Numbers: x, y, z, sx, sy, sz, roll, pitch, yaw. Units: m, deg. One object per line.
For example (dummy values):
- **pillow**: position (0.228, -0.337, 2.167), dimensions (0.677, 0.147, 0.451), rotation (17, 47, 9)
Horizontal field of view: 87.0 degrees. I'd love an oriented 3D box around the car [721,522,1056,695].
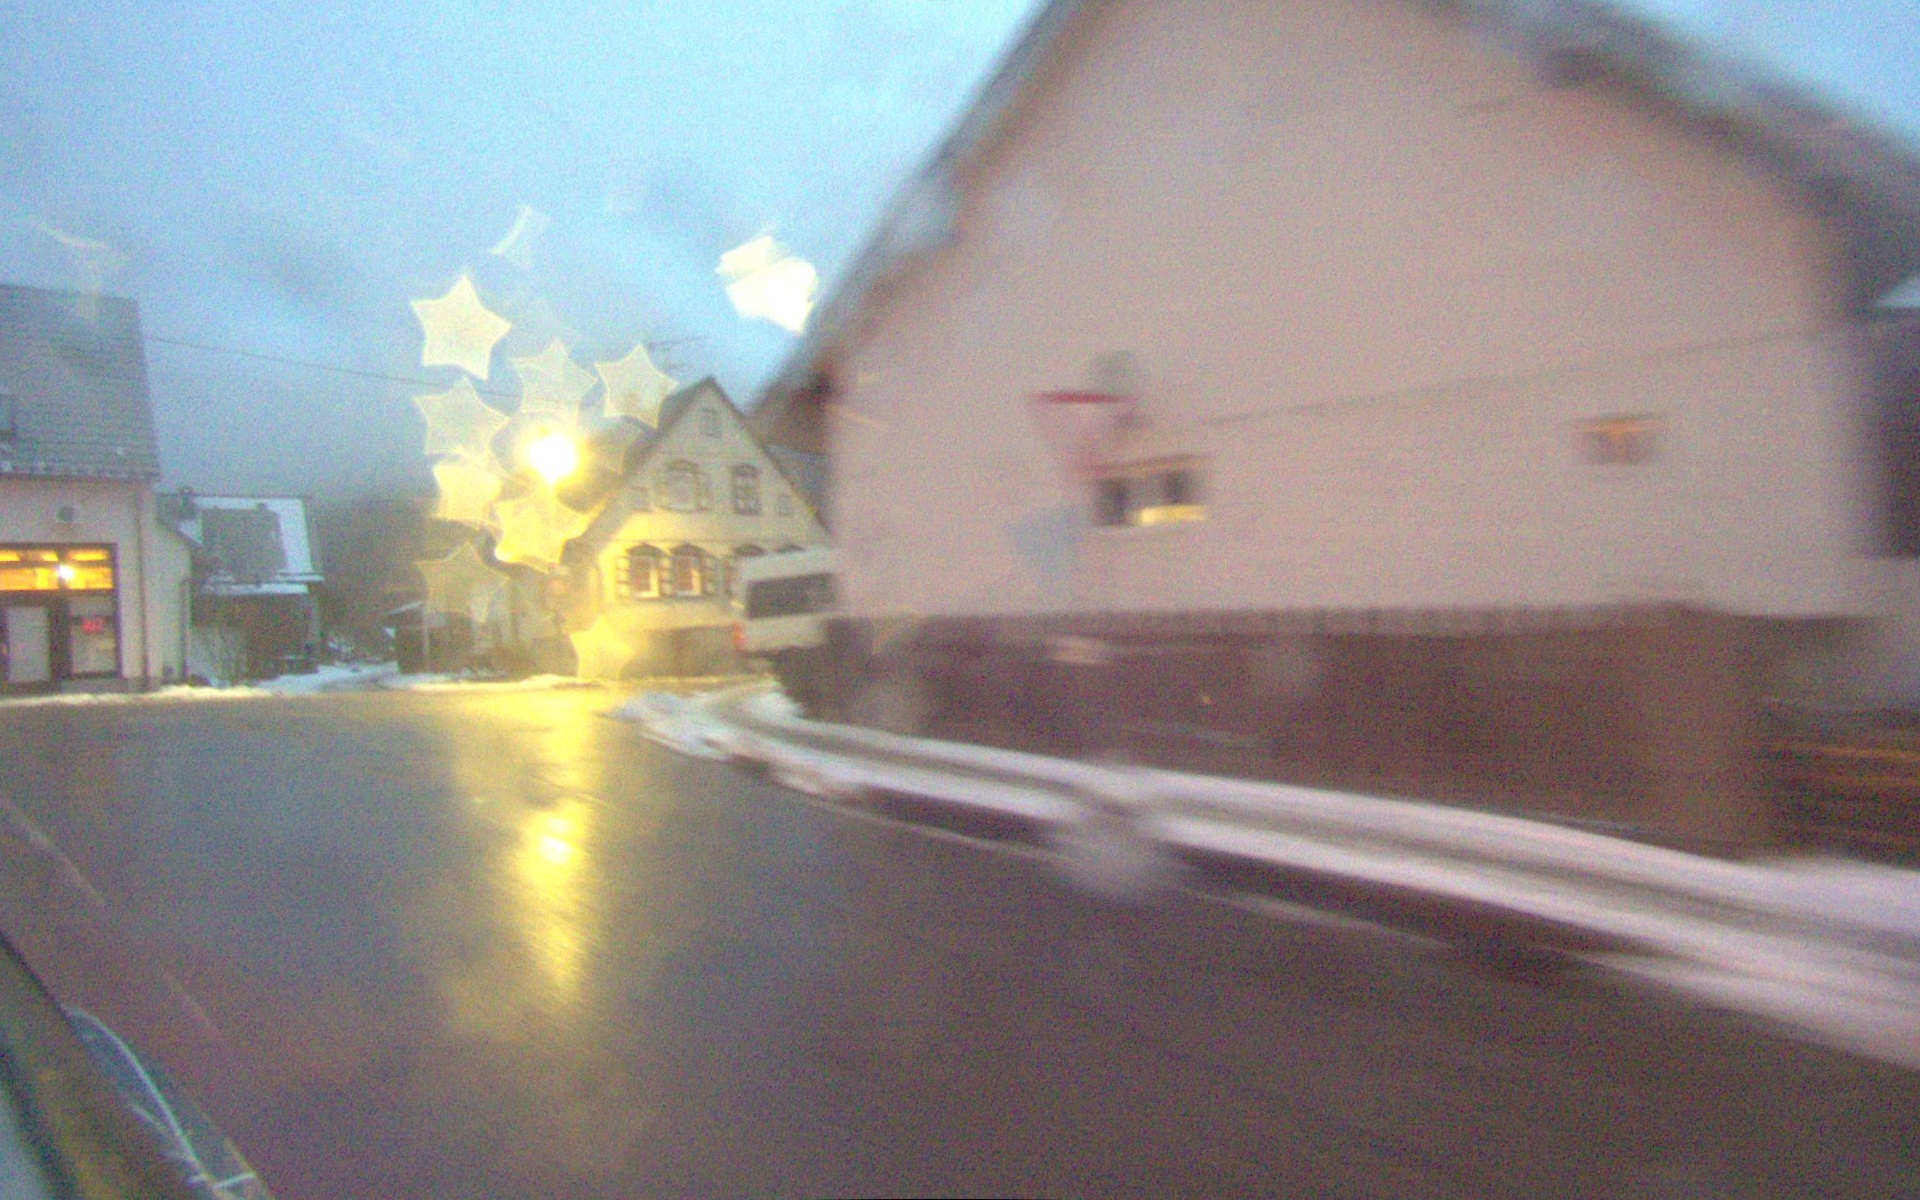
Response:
- **car**: position (-1.372, 0.232, 19.817), dimensions (6.058, 2.572, 1.991), rotation (-7, -2, 14)
